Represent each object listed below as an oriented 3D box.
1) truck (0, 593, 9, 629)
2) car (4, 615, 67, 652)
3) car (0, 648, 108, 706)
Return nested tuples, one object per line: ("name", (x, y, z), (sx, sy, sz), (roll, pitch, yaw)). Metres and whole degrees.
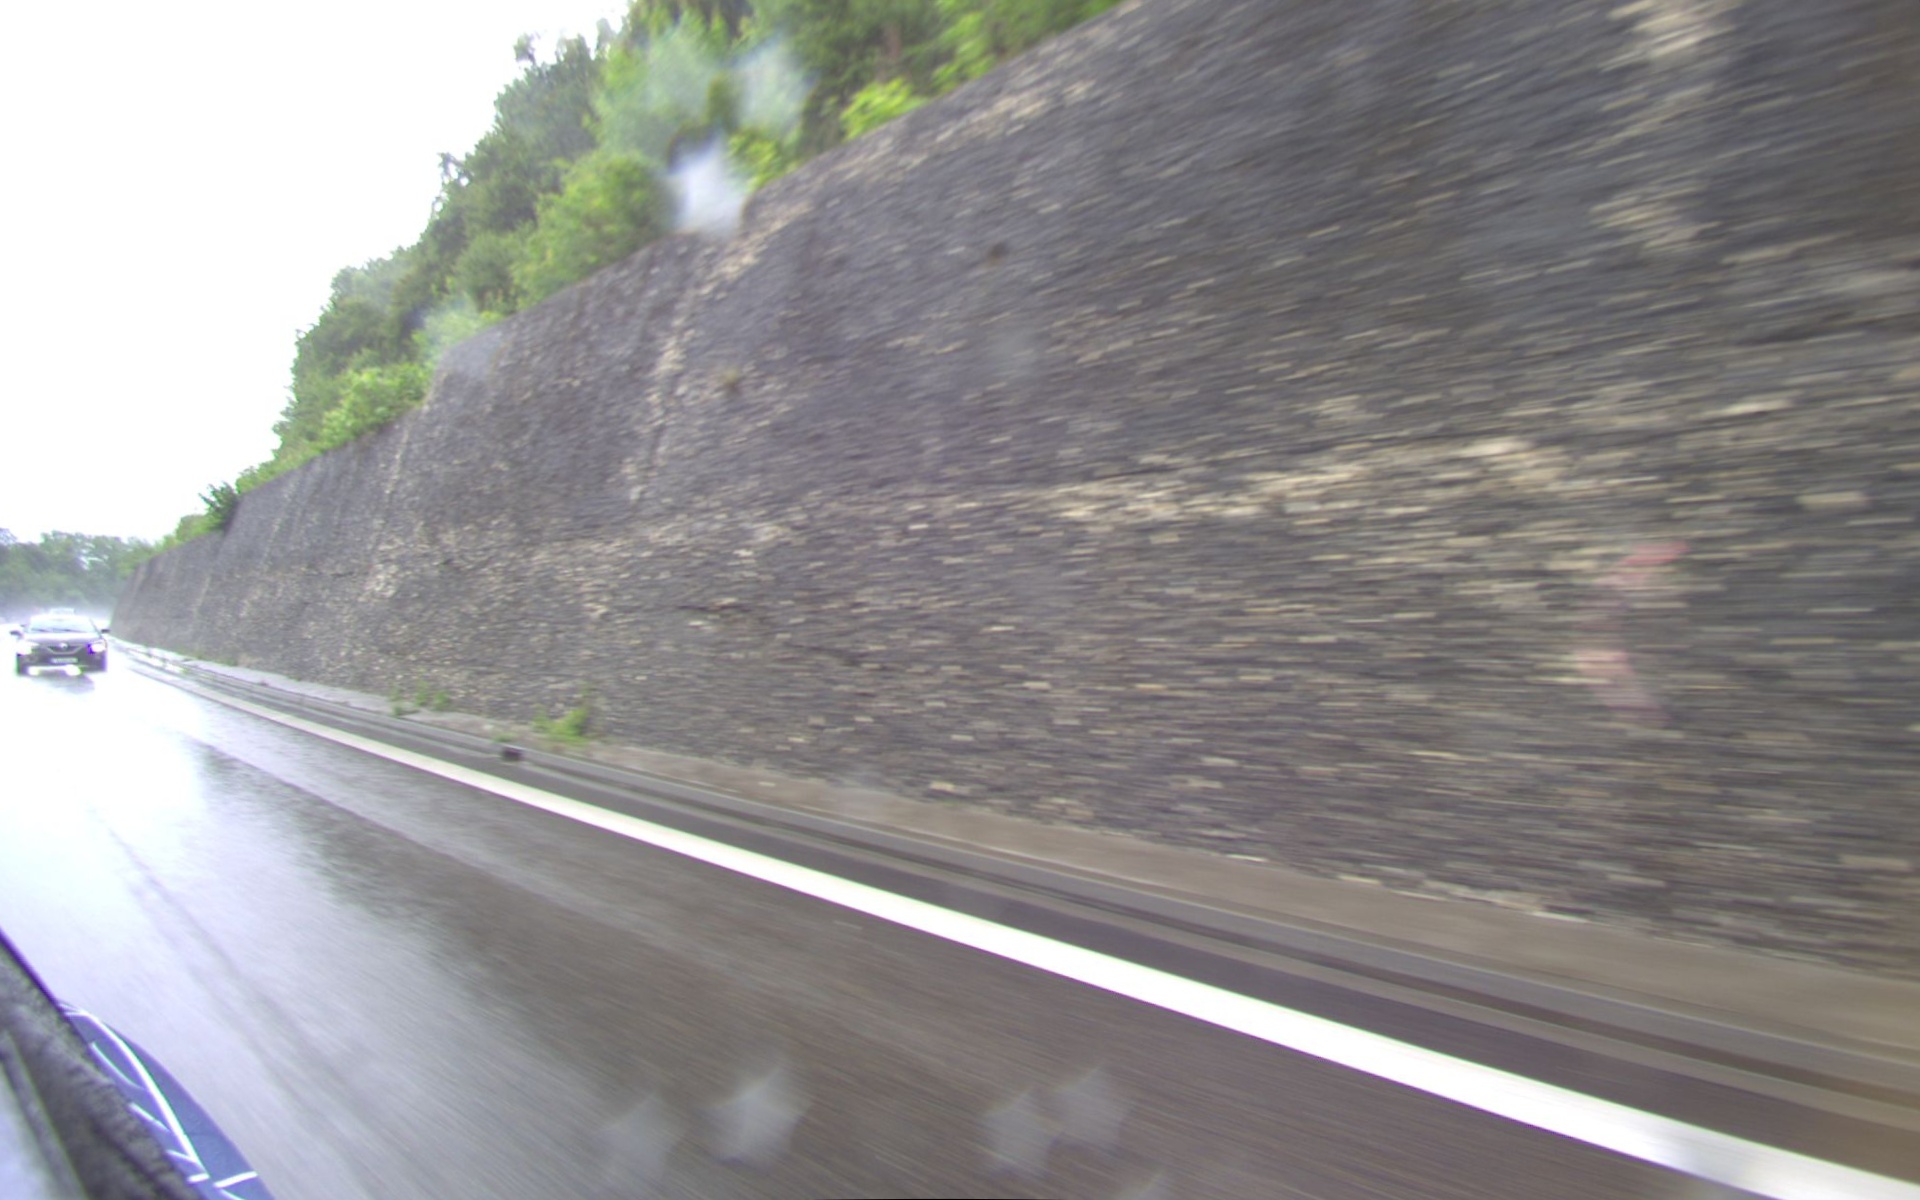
("truck", (-118.178, 1.359, 122.809), (2.765, 4.338, 6.483), (1, -1, -32))
("car", (-38.196, 1.340, 41.897), (1.800, 1.393, 4.005), (-2, 1, -41))
("car", (-24.028, 2.002, 26.748), (3.999, 1.394, 1.803), (-3, -4, 43))
